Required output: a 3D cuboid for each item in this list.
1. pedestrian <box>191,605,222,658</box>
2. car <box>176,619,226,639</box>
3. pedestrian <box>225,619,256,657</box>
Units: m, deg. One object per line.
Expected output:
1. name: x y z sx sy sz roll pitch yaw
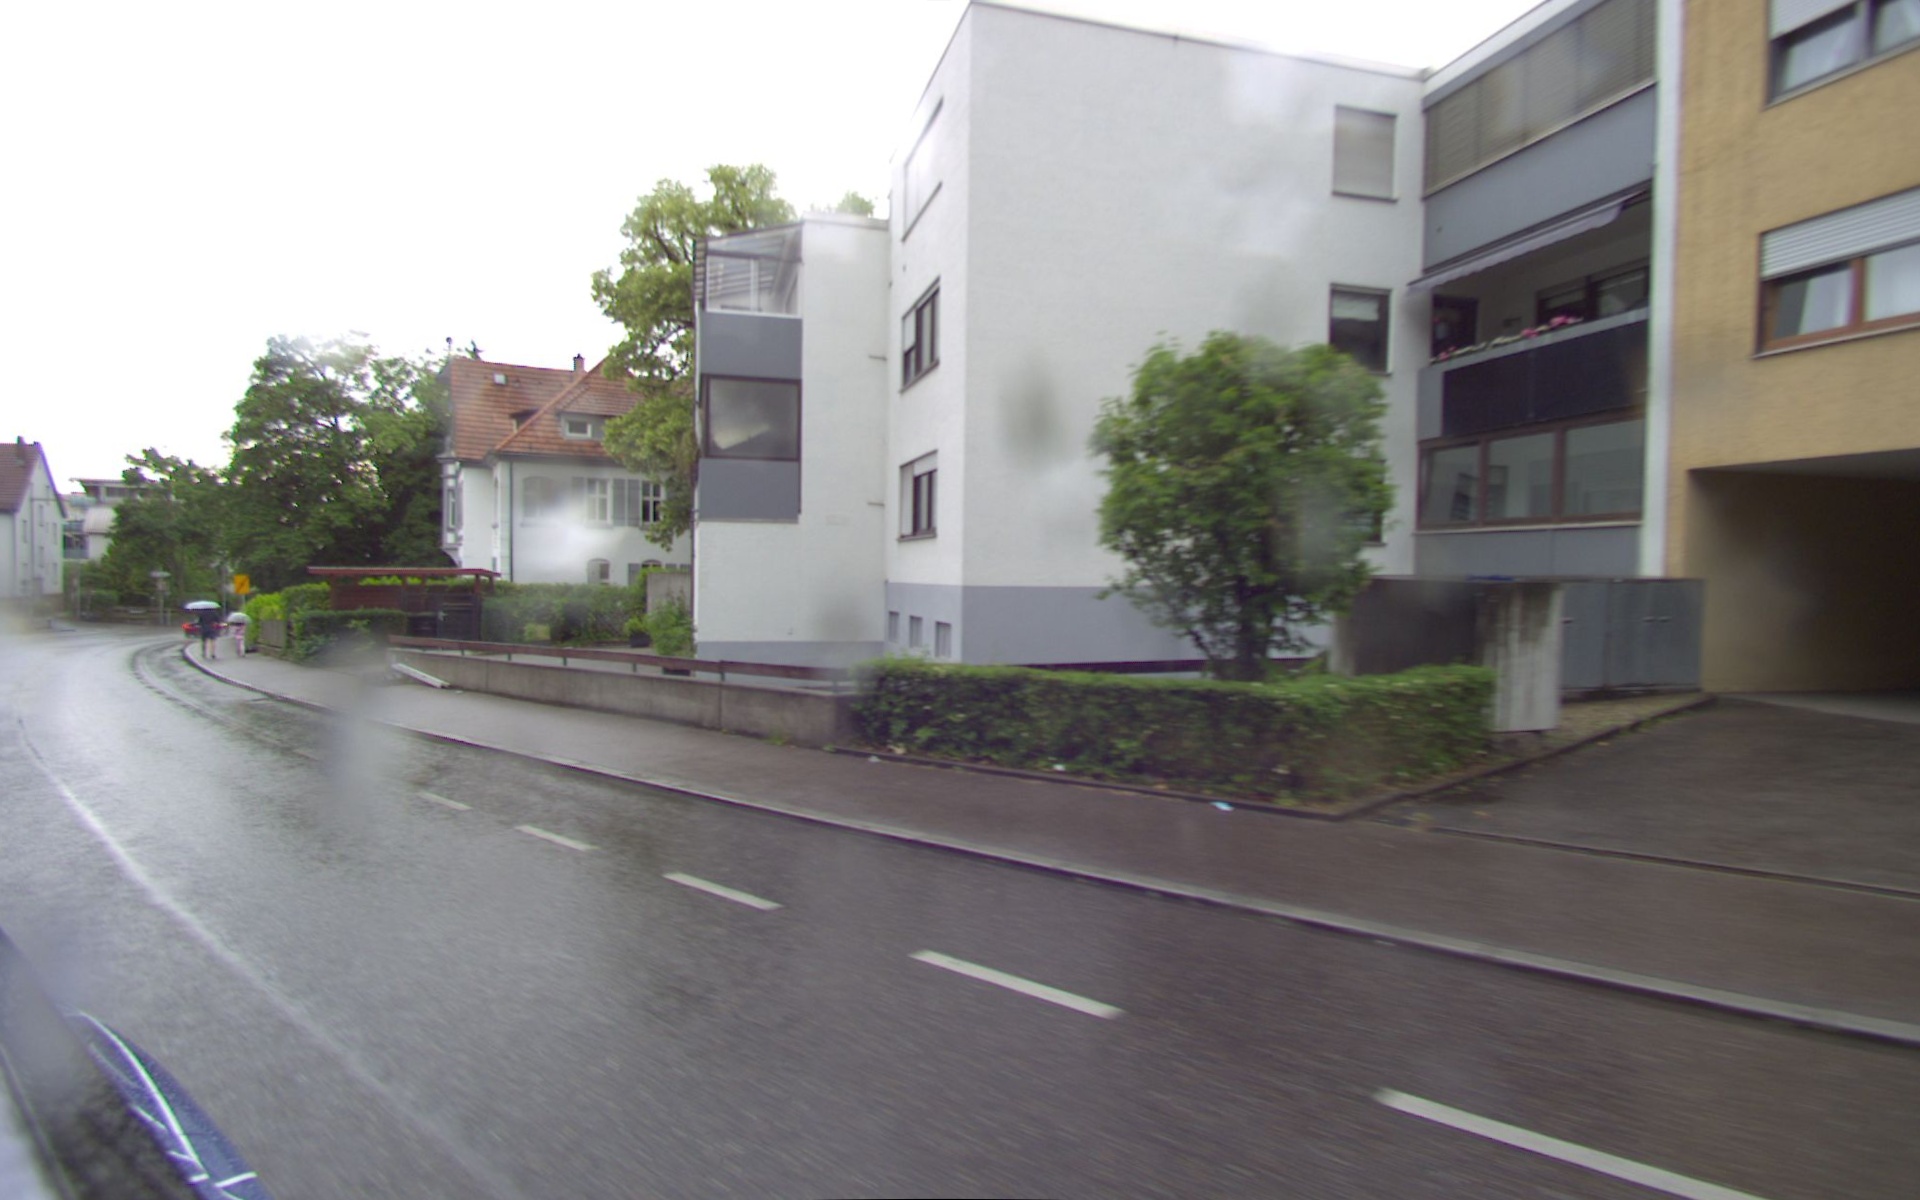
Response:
1. pedestrian: -24.289 1.003 32.636 0.746 1.656 1.041 -1 0 -39
2. car: -45.430 1.726 60.670 1.655 1.155 4.013 0 -1 -26
3. pedestrian: -23.146 1.217 32.550 0.746 1.189 1.041 -1 0 -39
